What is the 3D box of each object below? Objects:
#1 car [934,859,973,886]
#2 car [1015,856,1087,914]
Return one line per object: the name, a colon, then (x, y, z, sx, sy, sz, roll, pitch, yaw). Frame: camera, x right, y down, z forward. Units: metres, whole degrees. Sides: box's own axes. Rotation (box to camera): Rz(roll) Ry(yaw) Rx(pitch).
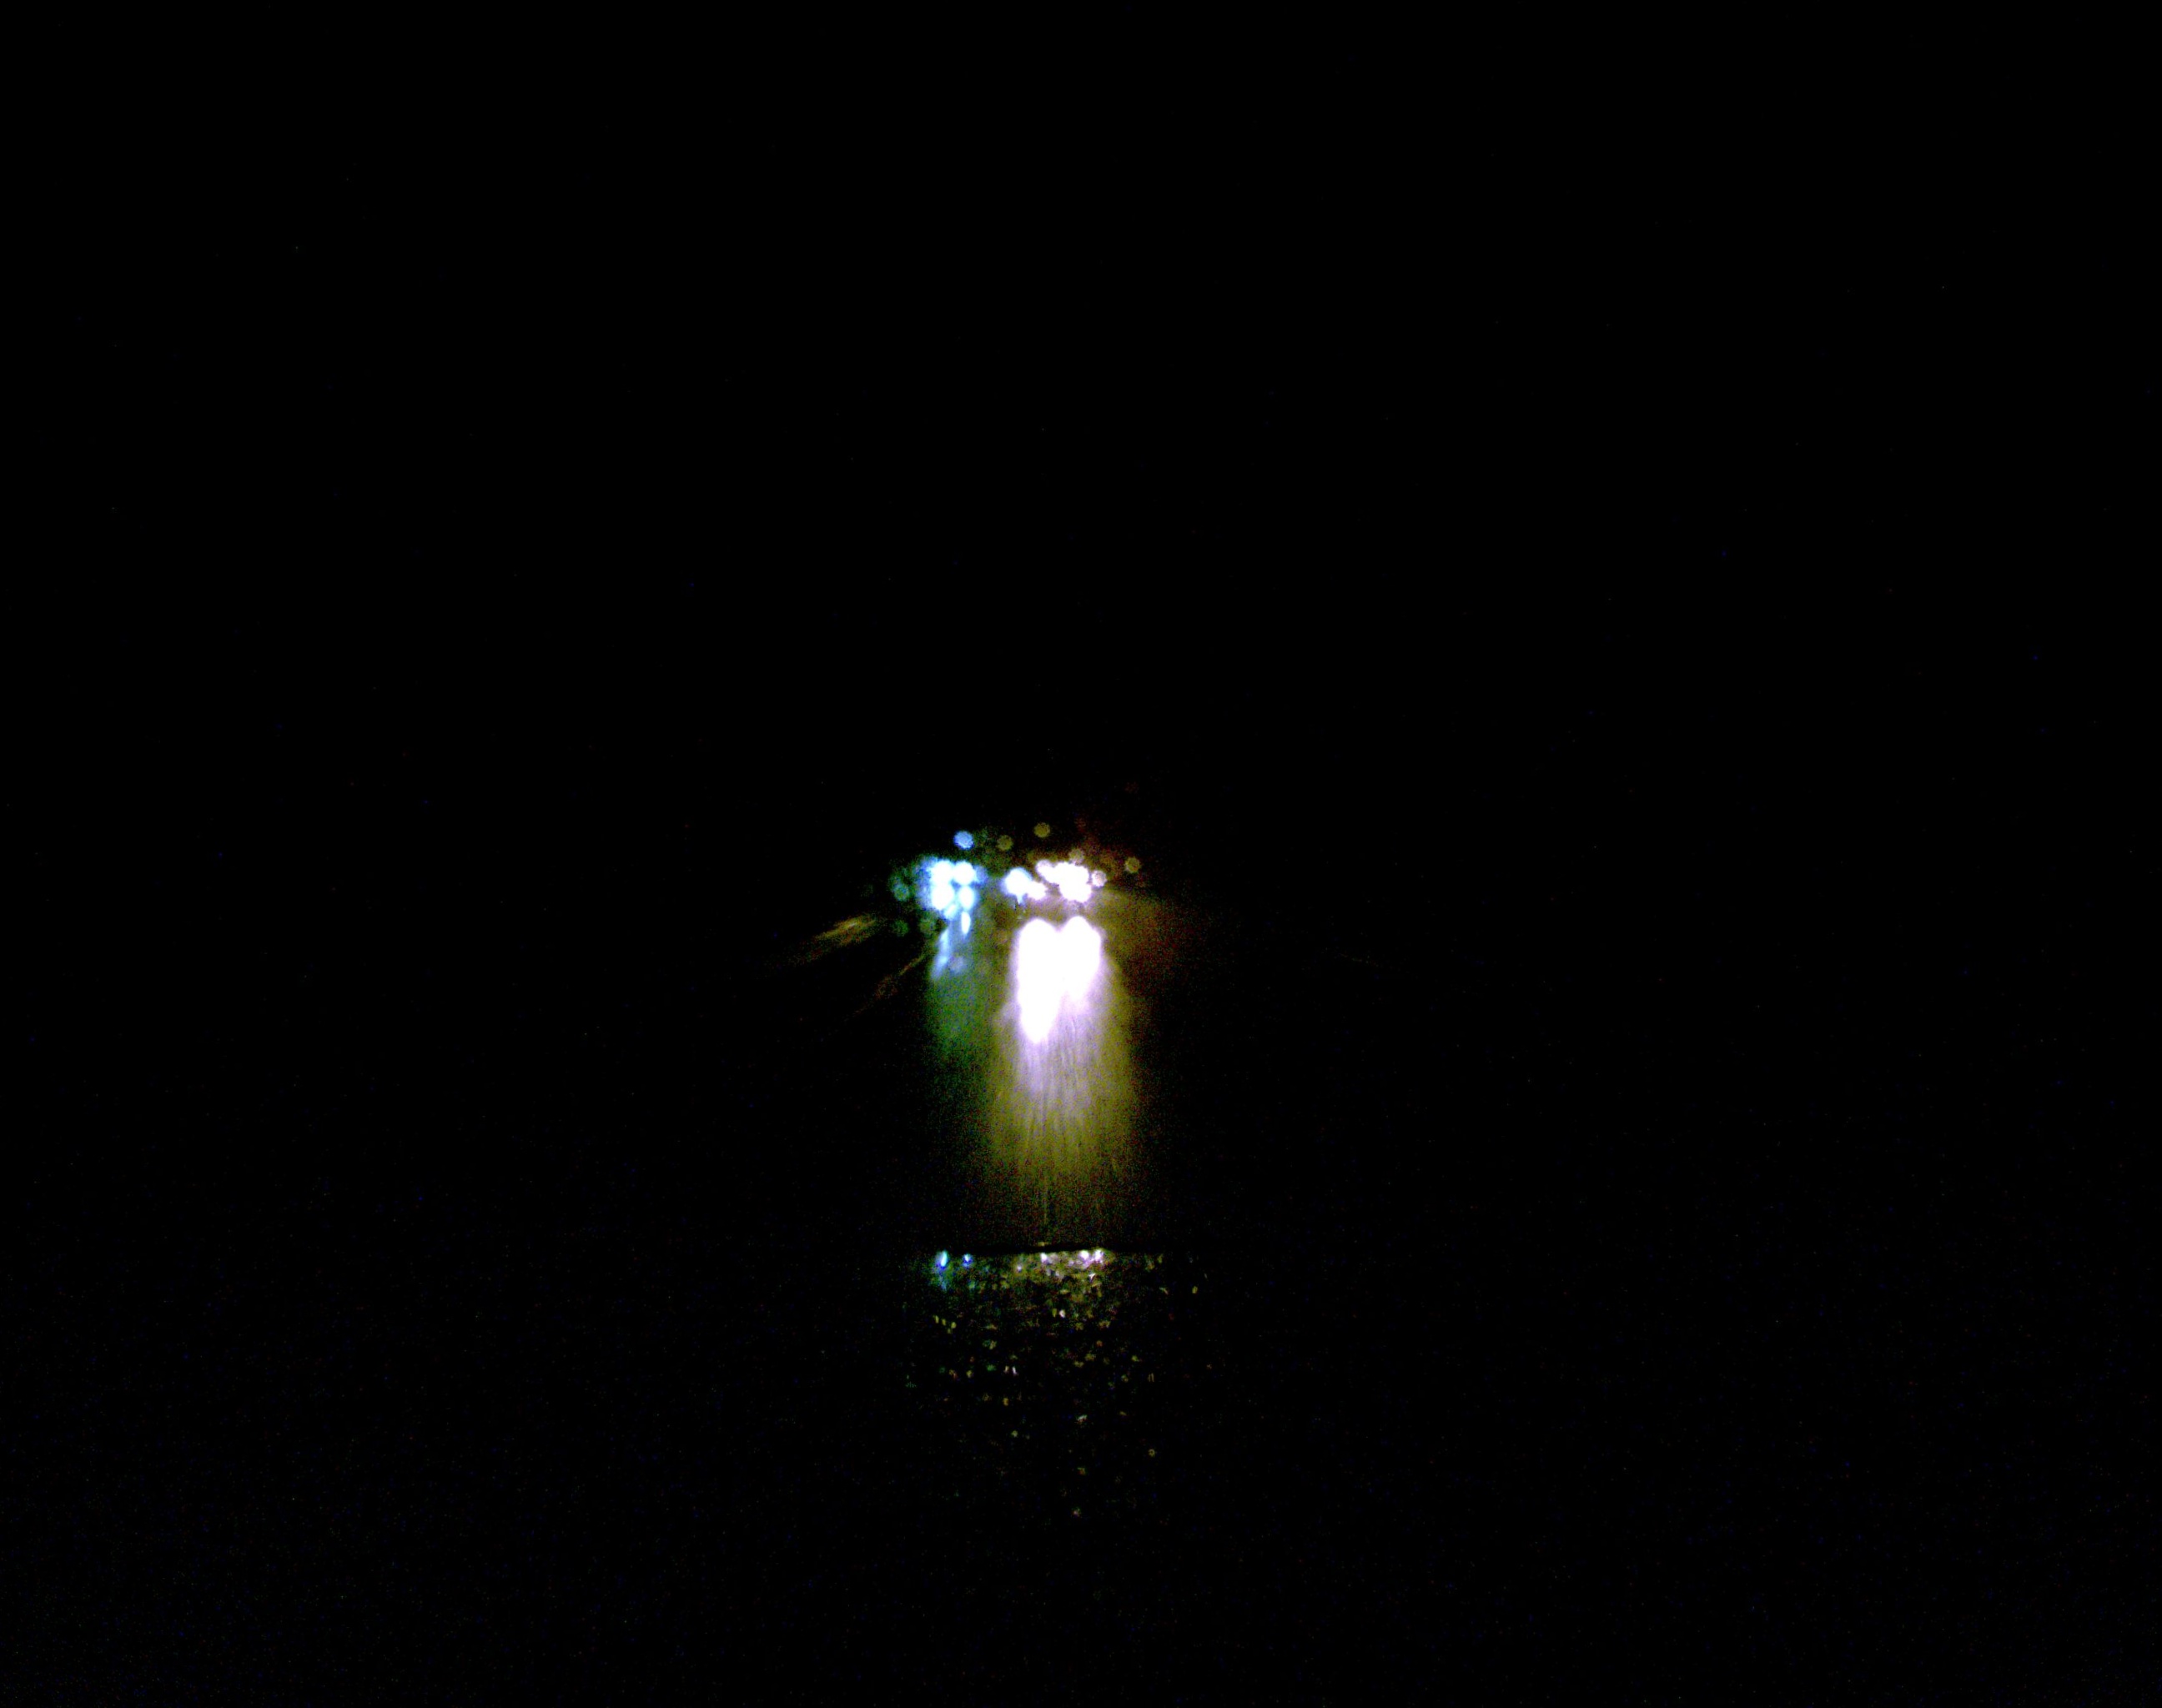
car: (-7.576, 1.065, 44.879, 1.851, 1.441, 3.870, -2, 1, -15)
car: (-0.981, 0.845, 22.679, 1.850, 1.441, 3.997, -2, 1, -6)
